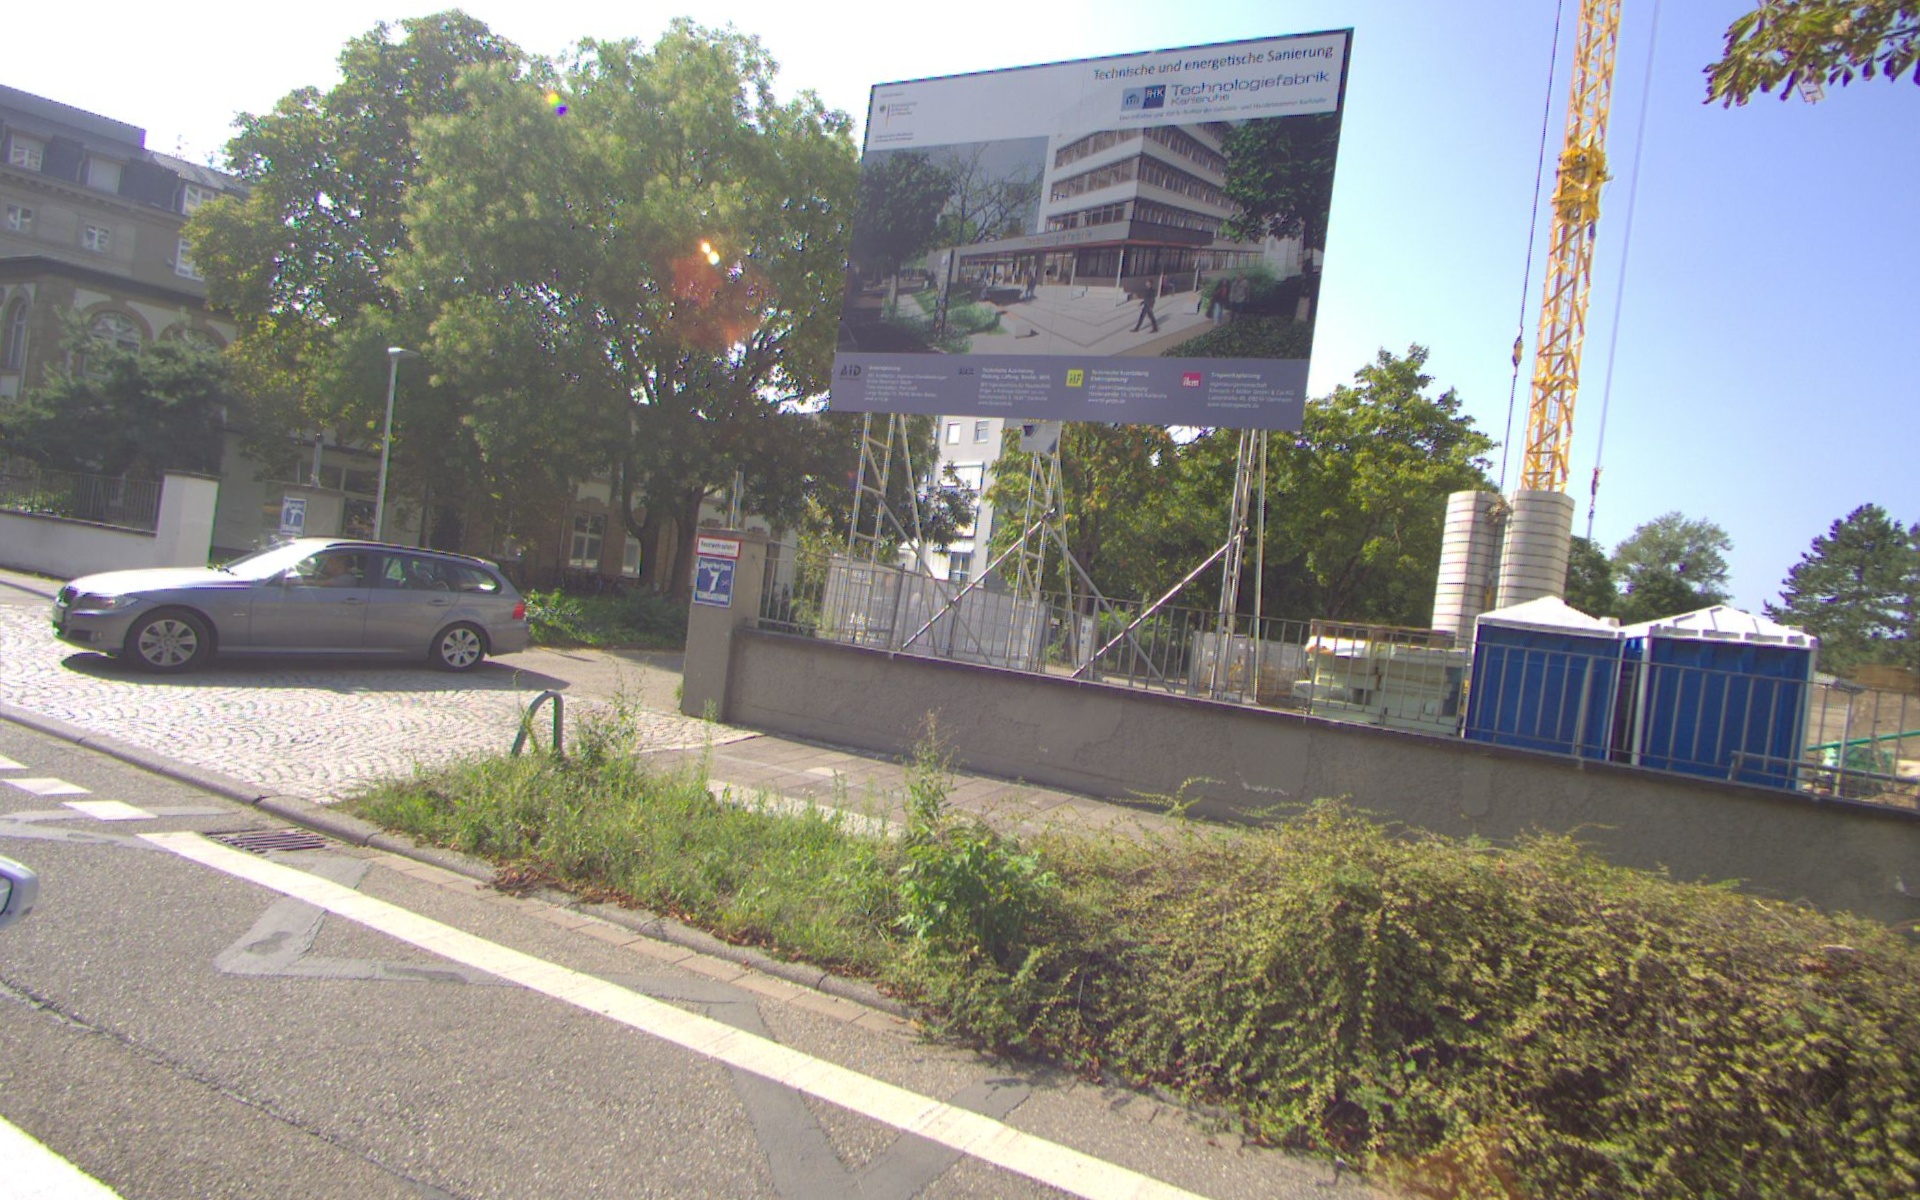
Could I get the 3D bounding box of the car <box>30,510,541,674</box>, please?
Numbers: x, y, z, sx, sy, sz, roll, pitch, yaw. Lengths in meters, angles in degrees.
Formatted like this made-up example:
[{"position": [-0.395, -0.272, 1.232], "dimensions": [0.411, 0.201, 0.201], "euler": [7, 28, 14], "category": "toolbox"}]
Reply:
[{"position": [-7.292, -0.034, 11.310], "dimensions": [1.779, 1.428, 4.413], "euler": [6, 2, 38], "category": "car"}]
